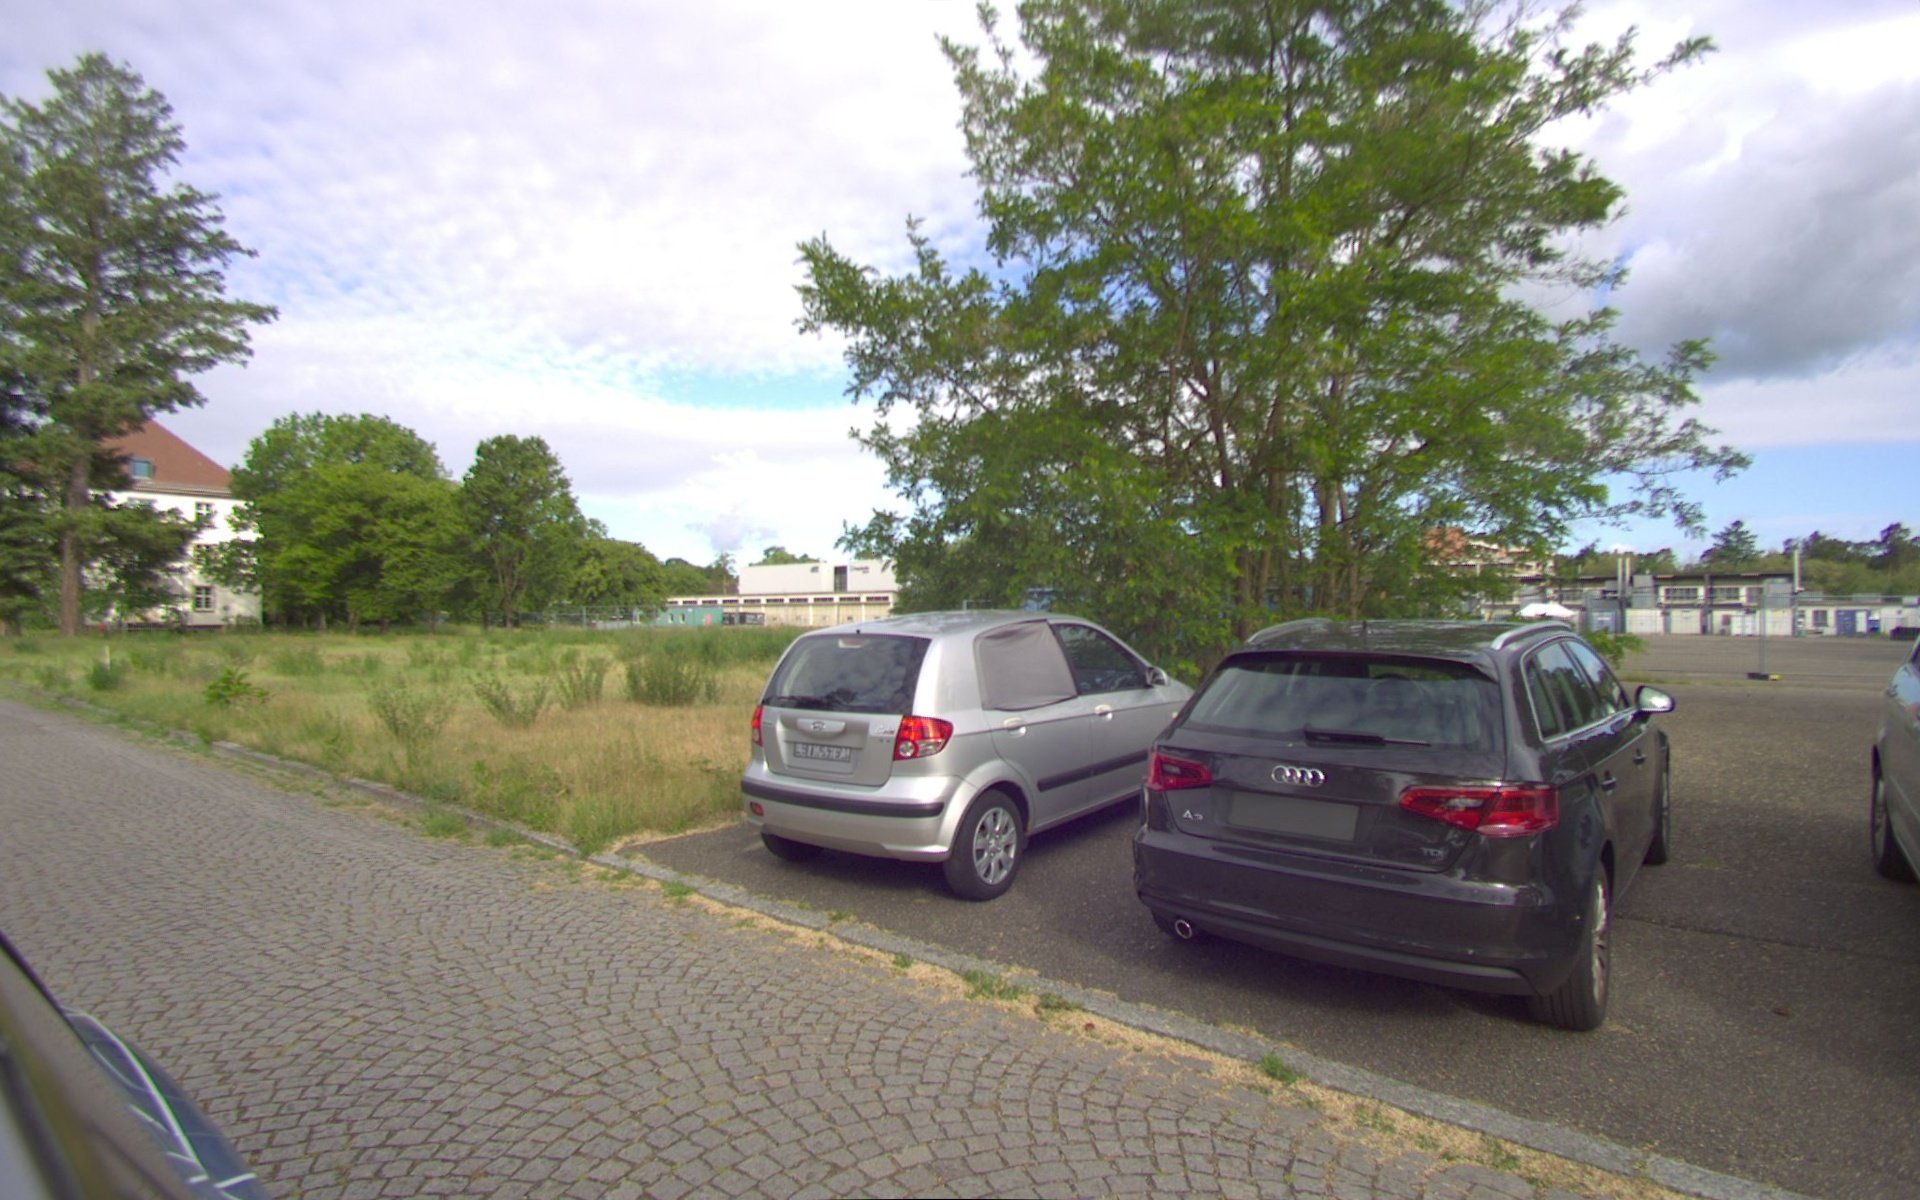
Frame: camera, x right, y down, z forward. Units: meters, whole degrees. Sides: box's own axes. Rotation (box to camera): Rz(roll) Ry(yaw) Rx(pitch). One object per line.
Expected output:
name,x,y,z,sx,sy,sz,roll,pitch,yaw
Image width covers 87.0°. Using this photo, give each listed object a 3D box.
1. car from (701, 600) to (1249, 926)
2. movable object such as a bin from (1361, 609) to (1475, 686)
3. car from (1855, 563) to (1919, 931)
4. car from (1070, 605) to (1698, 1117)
car,0.390,0.768,6.797,1.678,1.467,3.937,-1,0,37
movable object such as a bin,7.954,0.781,17.500,1.169,1.221,2.505,-1,-1,40
car,4.821,0.632,3.741,1.844,1.602,4.432,-1,0,36
car,2.572,0.786,5.246,1.882,1.433,4.576,-1,-2,38
